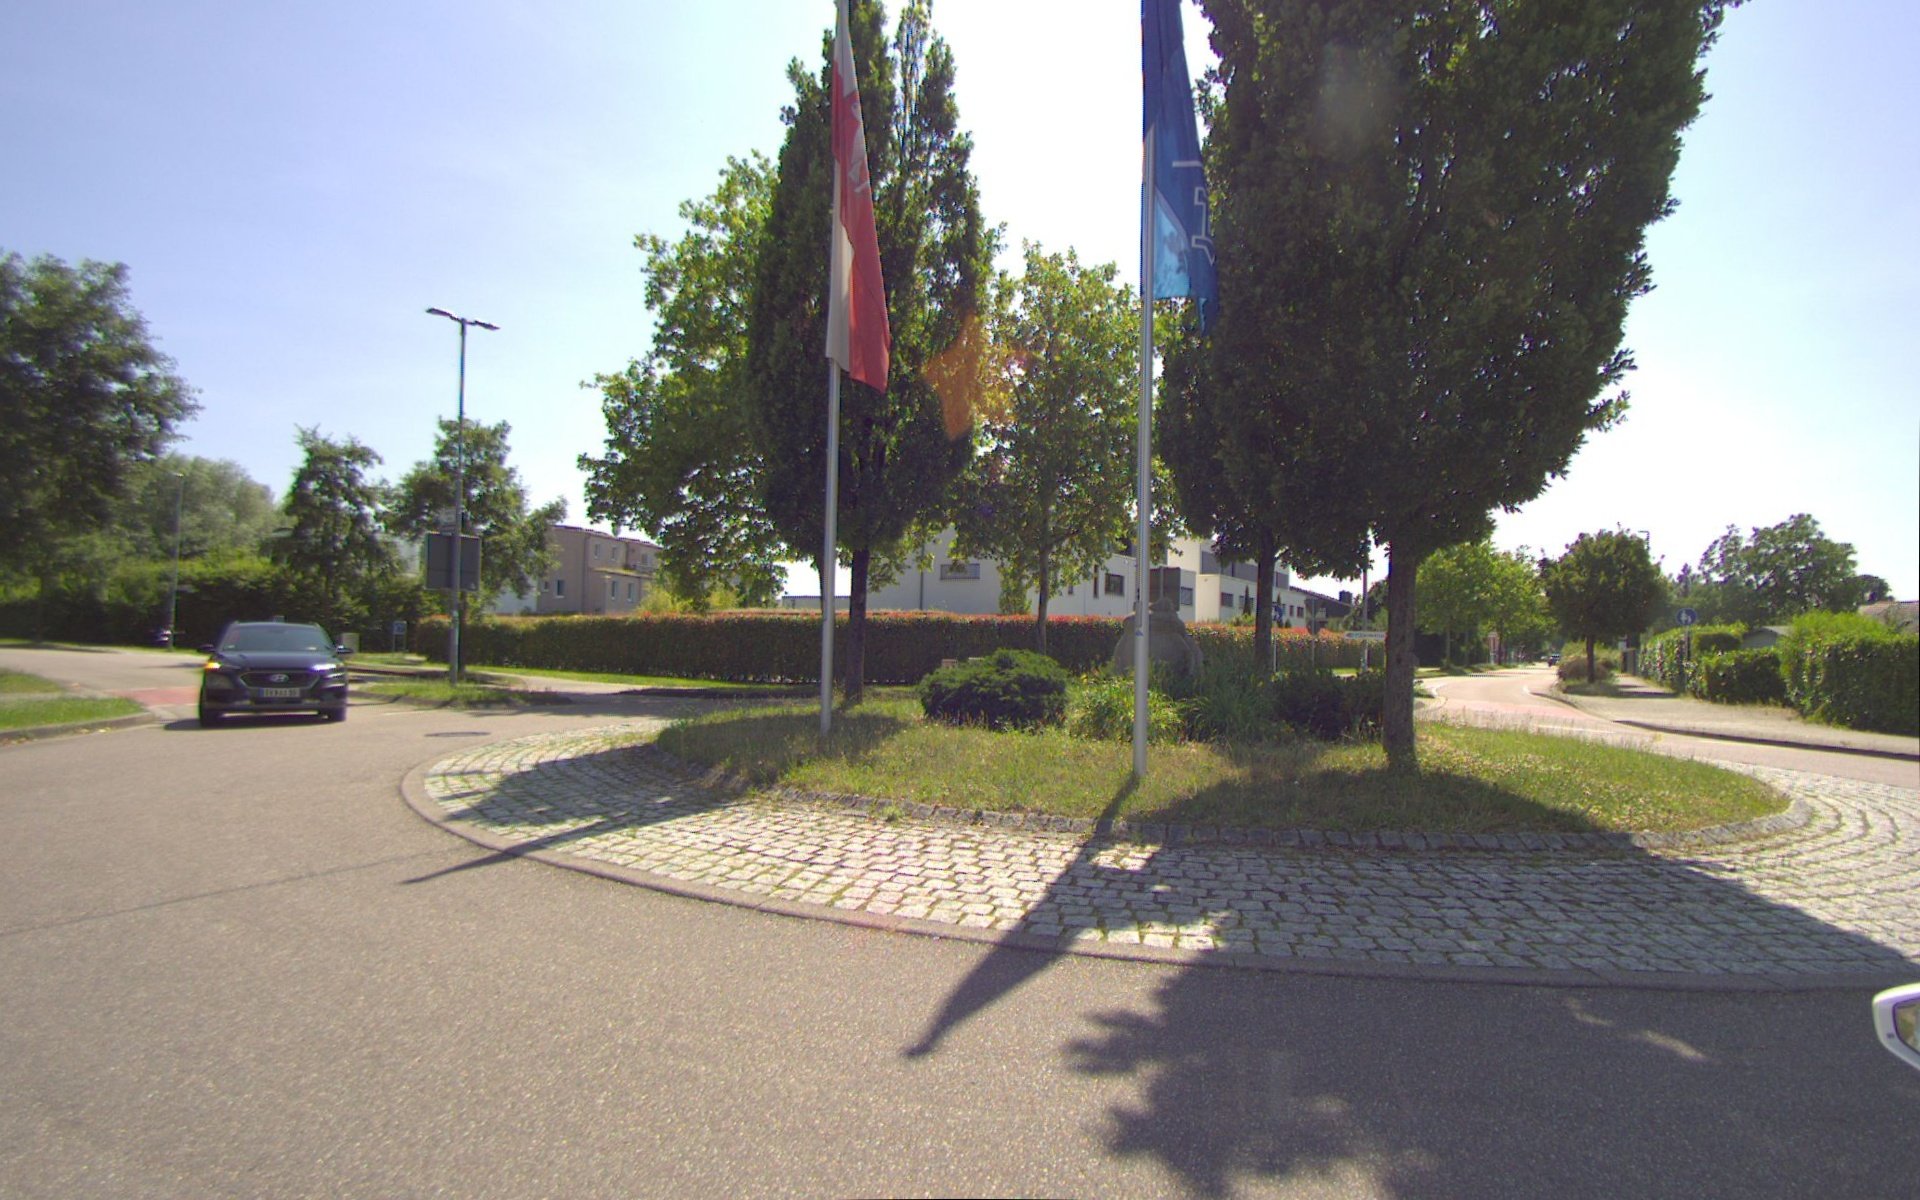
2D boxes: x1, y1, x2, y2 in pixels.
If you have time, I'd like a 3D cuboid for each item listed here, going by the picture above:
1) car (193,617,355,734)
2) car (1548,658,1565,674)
[{"bbox_3d":[-10.795,1.117,16.098,1.845,1.589,4.450,2,-3,-31],"label":"car"},{"bbox_3d":[78.522,8.715,132.222,1.896,1.910,3.992,2,-2,32],"label":"car"}]
